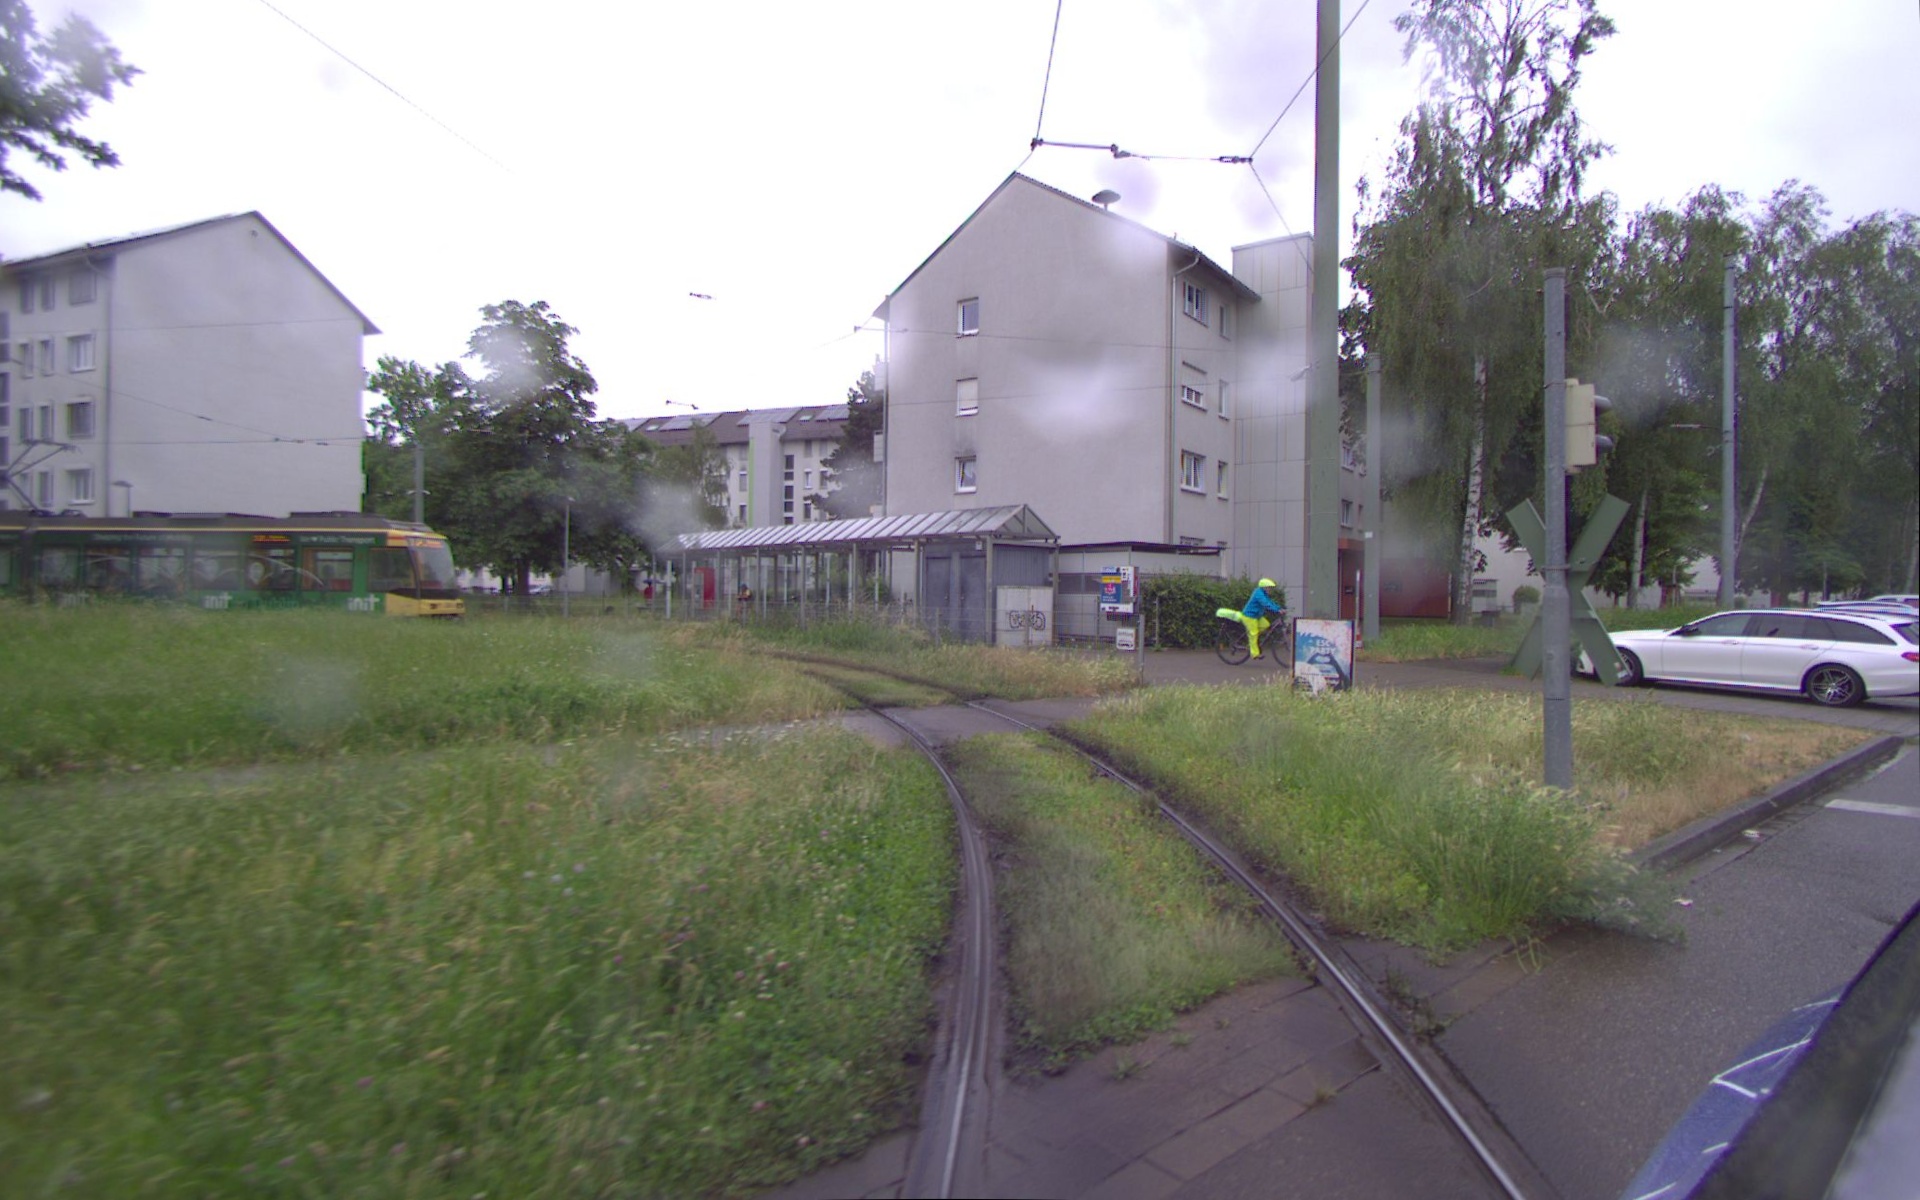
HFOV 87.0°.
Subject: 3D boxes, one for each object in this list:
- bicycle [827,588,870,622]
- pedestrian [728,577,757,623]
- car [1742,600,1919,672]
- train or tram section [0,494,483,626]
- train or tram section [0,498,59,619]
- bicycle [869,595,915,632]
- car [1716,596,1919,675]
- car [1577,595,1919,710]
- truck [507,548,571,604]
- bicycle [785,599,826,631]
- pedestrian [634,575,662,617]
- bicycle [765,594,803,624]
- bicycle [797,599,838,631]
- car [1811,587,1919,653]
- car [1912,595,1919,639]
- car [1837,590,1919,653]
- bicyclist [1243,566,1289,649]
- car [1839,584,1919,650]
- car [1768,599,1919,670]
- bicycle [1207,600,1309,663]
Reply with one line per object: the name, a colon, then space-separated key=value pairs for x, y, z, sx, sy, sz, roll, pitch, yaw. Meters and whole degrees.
bicycle: x=-3.209 y=0.150 z=29.096 sx=1.215 sy=0.959 sz=0.377 roll=0 pitch=-2 yaw=-38
pedestrian: x=-7.630 y=0.015 z=35.528 sx=0.776 sy=1.593 sz=0.635 roll=0 pitch=-2 yaw=-41
car: x=19.978 y=0.768 z=22.353 sx=1.692 sy=1.505 sz=3.995 roll=0 pitch=-1 yaw=-39
train or tram section: x=-21.720 y=-1.168 z=30.026 sx=14.485 sy=3.636 sz=2.709 roll=1 pitch=-1 yaw=7
train or tram section: x=-36.127 y=-1.334 z=31.807 sx=14.483 sy=3.636 sz=2.709 roll=1 pitch=-1 yaw=7
bicycle: x=-1.804 y=0.347 z=27.038 sx=1.215 sy=0.968 sz=0.377 roll=0 pitch=-2 yaw=-38
car: x=18.114 y=0.698 z=20.640 sx=1.692 sy=1.505 sz=3.995 roll=0 pitch=-1 yaw=-39
car: x=13.438 y=0.769 z=17.002 sx=1.964 sy=1.476 sz=4.839 roll=1 pitch=2 yaw=-39
truck: x=-29.019 y=-1.539 z=69.566 sx=3.138 sy=3.518 sz=7.153 roll=0 pitch=-1 yaw=-30
bicycle: x=-4.741 y=0.454 z=31.073 sx=1.215 sy=0.959 sz=0.377 roll=0 pitch=-2 yaw=-38
pedestrian: x=-14.708 y=-0.183 z=47.727 sx=1.165 sy=1.908 sz=1.056 roll=0 pitch=-1 yaw=-12
bicycle: x=-5.601 y=0.289 z=32.257 sx=0.414 sy=0.959 sz=1.292 roll=-2 pitch=-1 yaw=34
bicycle: x=-4.283 y=0.439 z=30.456 sx=1.215 sy=0.959 sz=0.377 roll=0 pitch=-2 yaw=-38
car: x=27.518 y=0.562 z=29.063 sx=1.692 sy=1.870 sz=4.440 roll=0 pitch=-1 yaw=-39
car: x=44.087 y=0.738 z=43.420 sx=1.866 sy=1.968 sz=4.541 roll=1 pitch=-1 yaw=-41
car: x=29.371 y=0.621 z=30.306 sx=1.692 sy=1.870 sz=4.440 roll=0 pitch=-1 yaw=-39
bicyclist: x=5.796 y=0.144 z=19.186 sx=0.687 sy=1.536 sz=0.723 roll=1 pitch=-1 yaw=7
car: x=31.265 y=0.532 z=32.487 sx=1.694 sy=2.088 sz=4.435 roll=0 pitch=-1 yaw=-43
car: x=21.924 y=0.790 z=24.017 sx=1.692 sy=1.606 sz=3.995 roll=0 pitch=-1 yaw=-39
bicycle: x=5.629 y=0.587 z=19.194 sx=1.724 sy=1.144 sz=0.727 roll=1 pitch=-1 yaw=7
